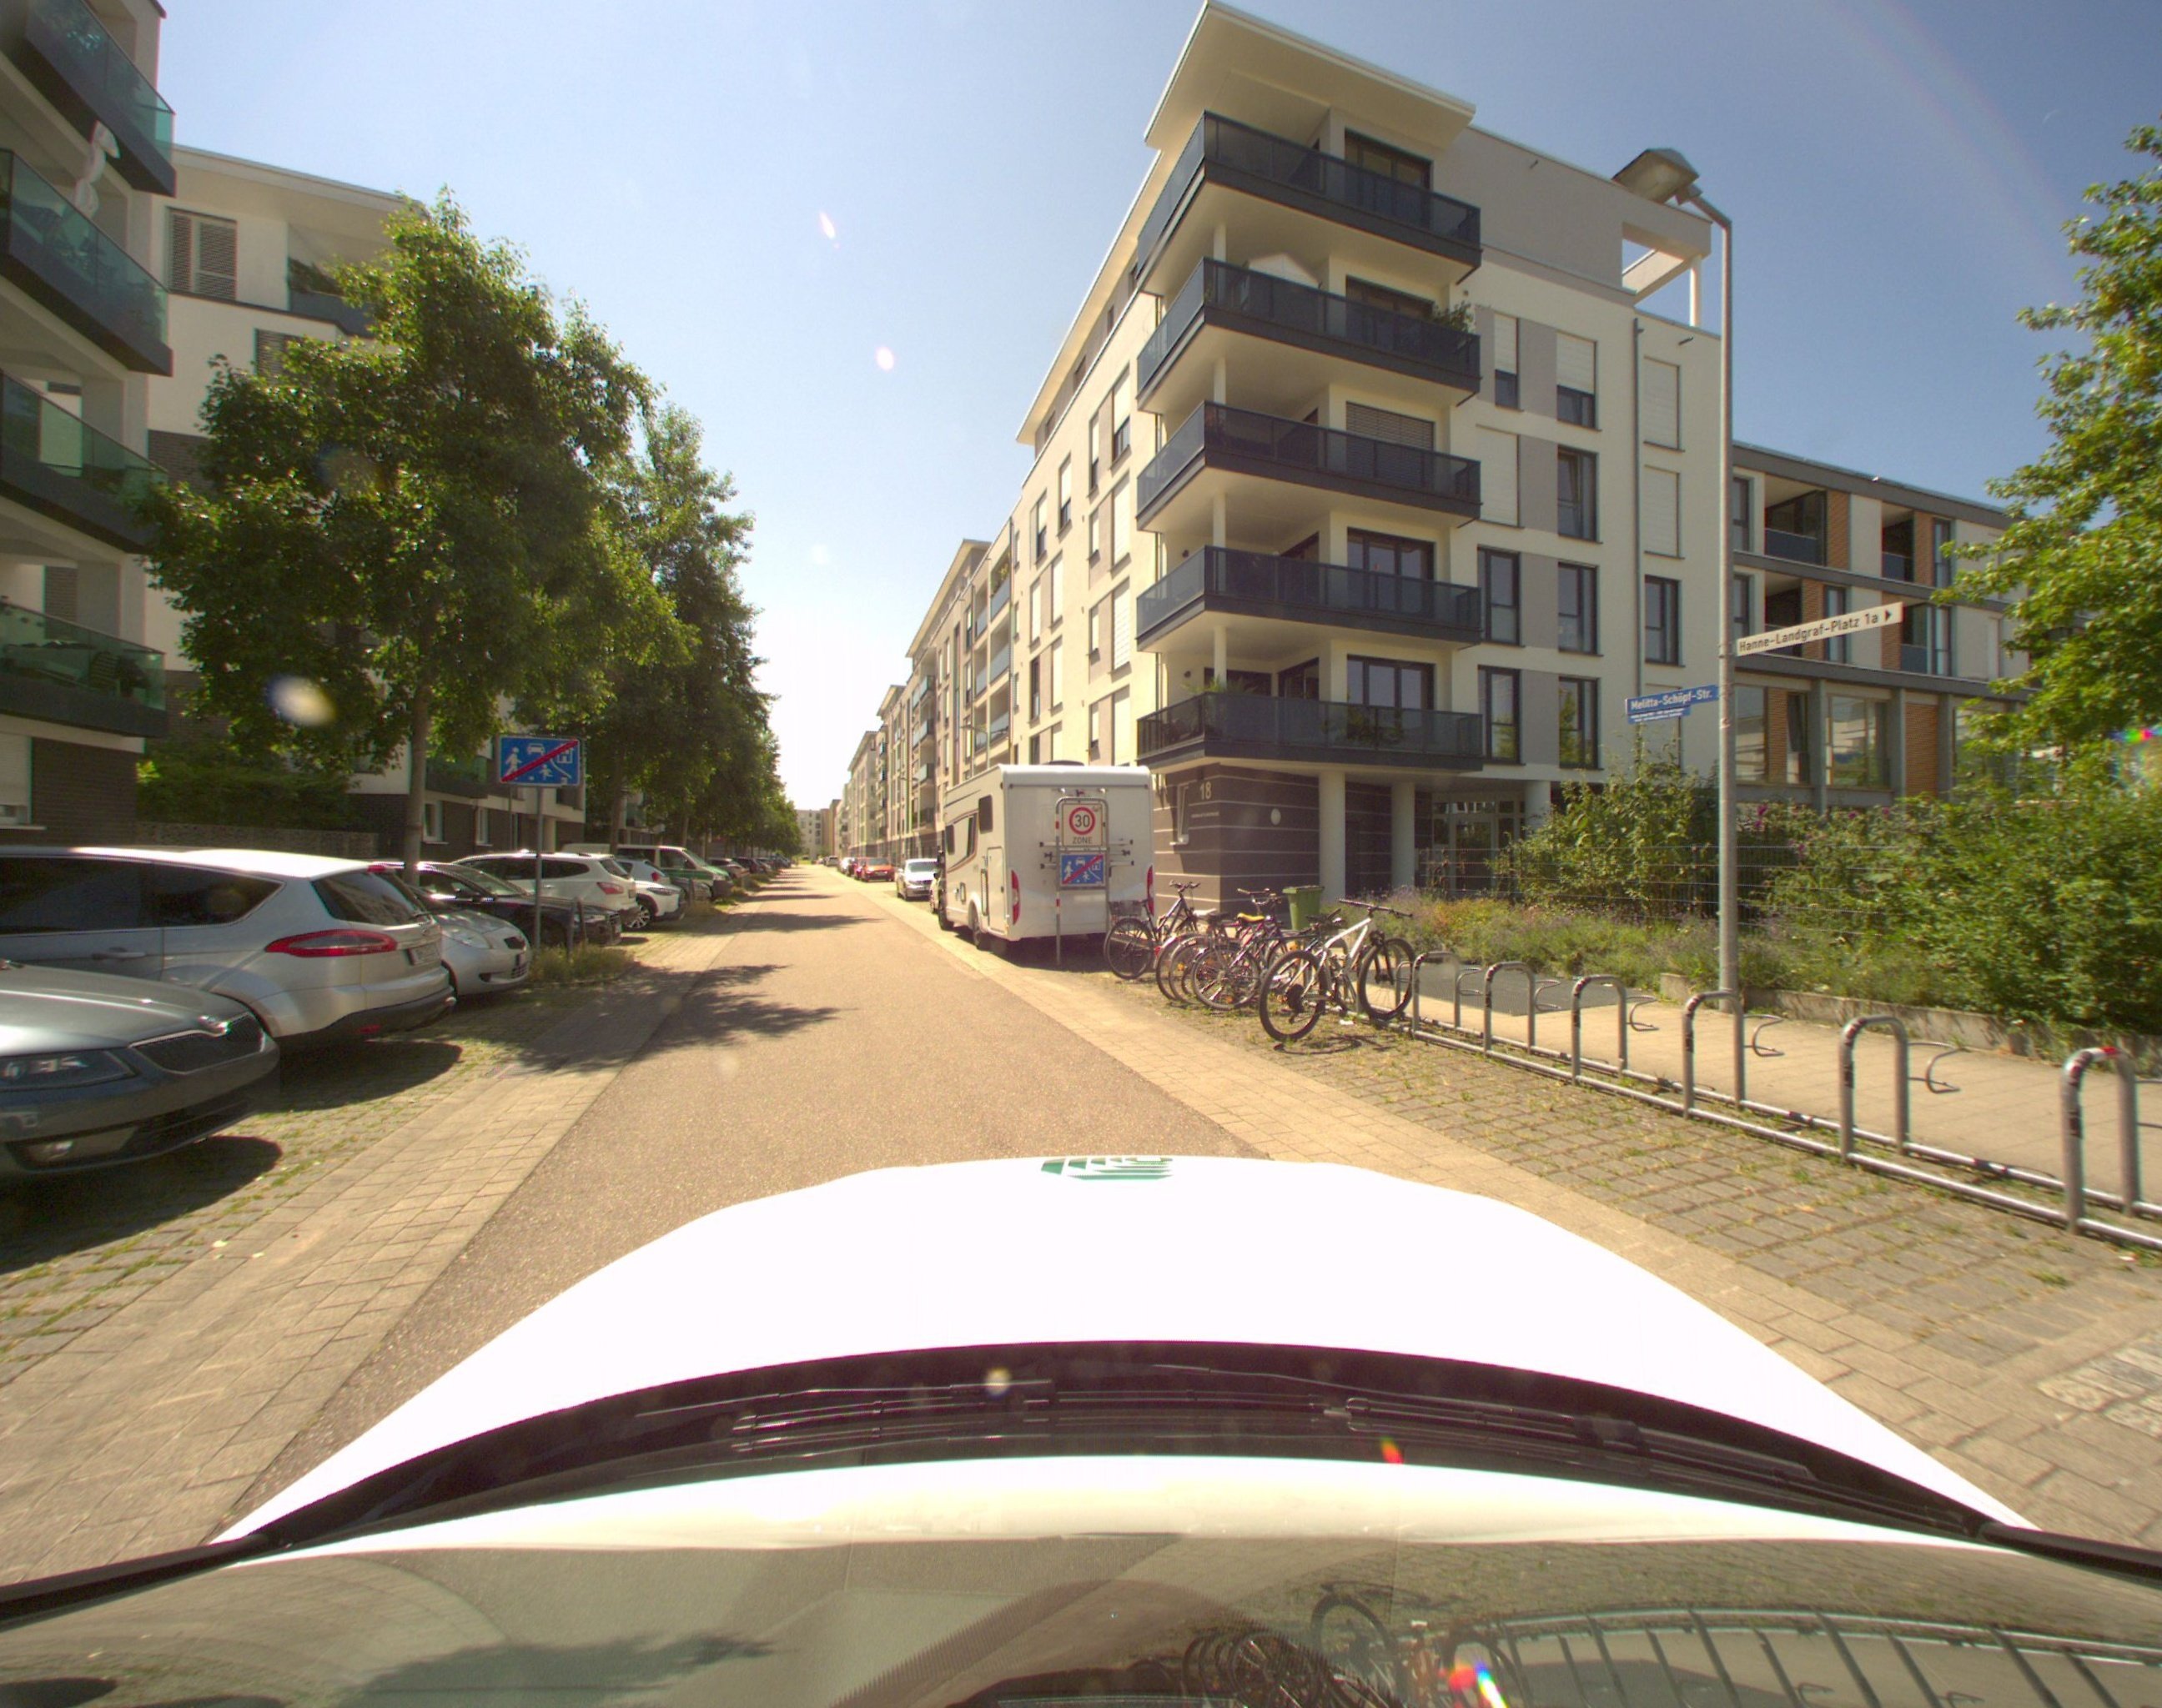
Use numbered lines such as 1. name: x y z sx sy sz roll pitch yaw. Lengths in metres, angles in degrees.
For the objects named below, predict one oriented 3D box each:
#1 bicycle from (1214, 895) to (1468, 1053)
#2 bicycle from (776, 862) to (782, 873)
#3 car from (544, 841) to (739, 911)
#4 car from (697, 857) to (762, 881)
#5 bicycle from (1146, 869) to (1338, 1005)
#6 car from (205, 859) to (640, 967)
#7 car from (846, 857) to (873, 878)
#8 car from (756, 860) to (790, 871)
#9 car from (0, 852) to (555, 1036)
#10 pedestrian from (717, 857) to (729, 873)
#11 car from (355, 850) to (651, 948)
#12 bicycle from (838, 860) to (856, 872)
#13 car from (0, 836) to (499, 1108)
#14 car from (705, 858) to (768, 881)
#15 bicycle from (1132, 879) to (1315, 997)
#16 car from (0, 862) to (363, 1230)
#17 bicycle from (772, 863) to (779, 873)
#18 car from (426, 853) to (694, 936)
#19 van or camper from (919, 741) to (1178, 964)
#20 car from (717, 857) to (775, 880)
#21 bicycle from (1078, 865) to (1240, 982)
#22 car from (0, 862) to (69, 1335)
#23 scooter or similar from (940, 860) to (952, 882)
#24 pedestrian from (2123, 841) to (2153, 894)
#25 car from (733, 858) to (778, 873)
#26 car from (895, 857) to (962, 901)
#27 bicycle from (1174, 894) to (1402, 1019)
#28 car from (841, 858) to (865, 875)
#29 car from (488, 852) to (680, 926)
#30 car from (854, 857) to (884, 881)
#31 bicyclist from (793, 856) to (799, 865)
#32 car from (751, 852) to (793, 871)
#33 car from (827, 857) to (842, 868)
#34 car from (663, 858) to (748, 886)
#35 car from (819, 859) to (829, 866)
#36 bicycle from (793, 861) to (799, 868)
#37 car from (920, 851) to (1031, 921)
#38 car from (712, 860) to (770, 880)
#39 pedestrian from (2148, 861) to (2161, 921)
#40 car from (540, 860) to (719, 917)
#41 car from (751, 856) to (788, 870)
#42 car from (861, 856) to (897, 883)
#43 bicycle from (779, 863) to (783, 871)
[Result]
1. bicycle: 2.176 0.906 6.746 2.040 1.003 0.866 -2 0 -31
2. bicycle: -33.682 1.527 90.801 0.373 1.180 1.803 -1 0 -31
3. car: -14.408 0.685 27.110 5.355 2.110 2.174 -1 0 -17
4. car: -24.549 1.025 57.054 3.999 1.629 1.921 1 -1 -19
5. bicycle: 1.632 0.791 8.232 1.855 1.222 0.552 -1 0 -18
6. car: -9.794 0.850 12.663 4.864 1.457 1.817 1 -1 -19
7. car: -17.310 1.041 63.528 1.648 1.462 4.091 -2 0 -19
8. car: -44.310 1.597 117.196 4.396 1.515 2.062 1 -1 -19
9. car: -8.050 0.792 8.243 4.268 1.531 1.809 1 -1 -22
10. pedestrian: -38.682 1.164 88.031 1.002 1.690 0.828 -1 0 -15
11. car: -10.385 0.790 15.032 3.990 1.629 1.938 1 -1 -17
12. bicycle: -25.313 1.294 88.136 1.848 1.148 0.455 -2 0 -38
13. car: -7.357 0.705 5.622 5.047 1.632 2.028 0 0 -22
14. car: -25.114 1.103 59.514 3.997 1.651 1.907 1 -1 -18
15. bicycle: 1.508 0.844 8.585 1.888 1.110 0.473 -1 0 -18
16. car: -6.483 0.727 3.386 4.836 1.449 1.815 2 -2 -22
17. bicycle: -34.015 1.562 90.655 0.436 1.128 1.959 -1 0 -31
18. car: -10.956 0.843 17.603 4.579 1.594 1.951 1 -1 -24
19. van or camper: -1.099 0.047 14.702 2.447 2.906 7.773 0 -1 -20
20. car: -28.166 1.211 68.615 4.377 1.710 1.986 -3 0 -22
21. bicycle: 0.996 0.806 10.158 1.930 1.222 0.818 -3 1 -35
22. car: -5.515 0.755 0.943 5.118 1.485 1.914 0 -1 -22
23. scooter or similar: -7.587 0.933 45.769 0.544 1.225 1.527 0 0 -4
24. pedestrian: 30.826 0.393 23.752 0.457 1.508 0.399 0 0 40
25. car: -33.230 1.173 83.138 4.198 1.486 1.944 0 -2 -23
26. car: -5.556 0.843 29.245 1.851 1.416 4.399 0 0 -18
27. bicycle: 1.895 0.923 7.656 1.851 0.975 0.943 -2 0 -7
28. car: -20.815 1.117 74.290 1.840 1.504 4.323 -2 0 -19
29. car: -12.029 0.828 20.005 3.691 1.676 1.840 1 -1 -20
30. car: -14.173 0.961 54.342 1.600 1.485 3.652 -3 1 -19
31. bicyclist: -47.363 1.080 135.231 0.957 1.459 0.794 -1 0 -20
32. car: -48.916 1.242 128.871 6.042 2.816 2.588 -1 0 -19
33. car: -38.403 1.353 126.834 2.003 1.657 4.090 -1 0 -18
34. car: -21.859 1.032 47.555 4.266 1.518 1.912 2 -1 -20
35. car: -60.396 1.940 191.414 2.000 1.675 3.973 -1 0 -20
36. bicycle: -47.326 1.778 135.239 0.901 1.129 2.026 -1 0 -20
37. car: -2.794 0.737 20.723 1.814 1.504 4.231 -2 0 -21
38. car: -25.846 1.223 62.041 3.991 1.445 1.762 1 -1 -23
39. pedestrian: 17.984 0.611 13.376 0.408 0.986 0.371 1 -1 9
40. car: -13.369 0.977 24.479 4.437 1.489 1.986 -1 0 -21
41. car: -47.314 1.411 123.712 5.161 2.119 2.297 0 0 -19
42. car: -12.221 0.925 49.198 1.743 1.487 4.231 -2 0 -19
43. bicycle: -39.929 1.717 108.302 0.467 1.141 1.913 -1 0 -21
